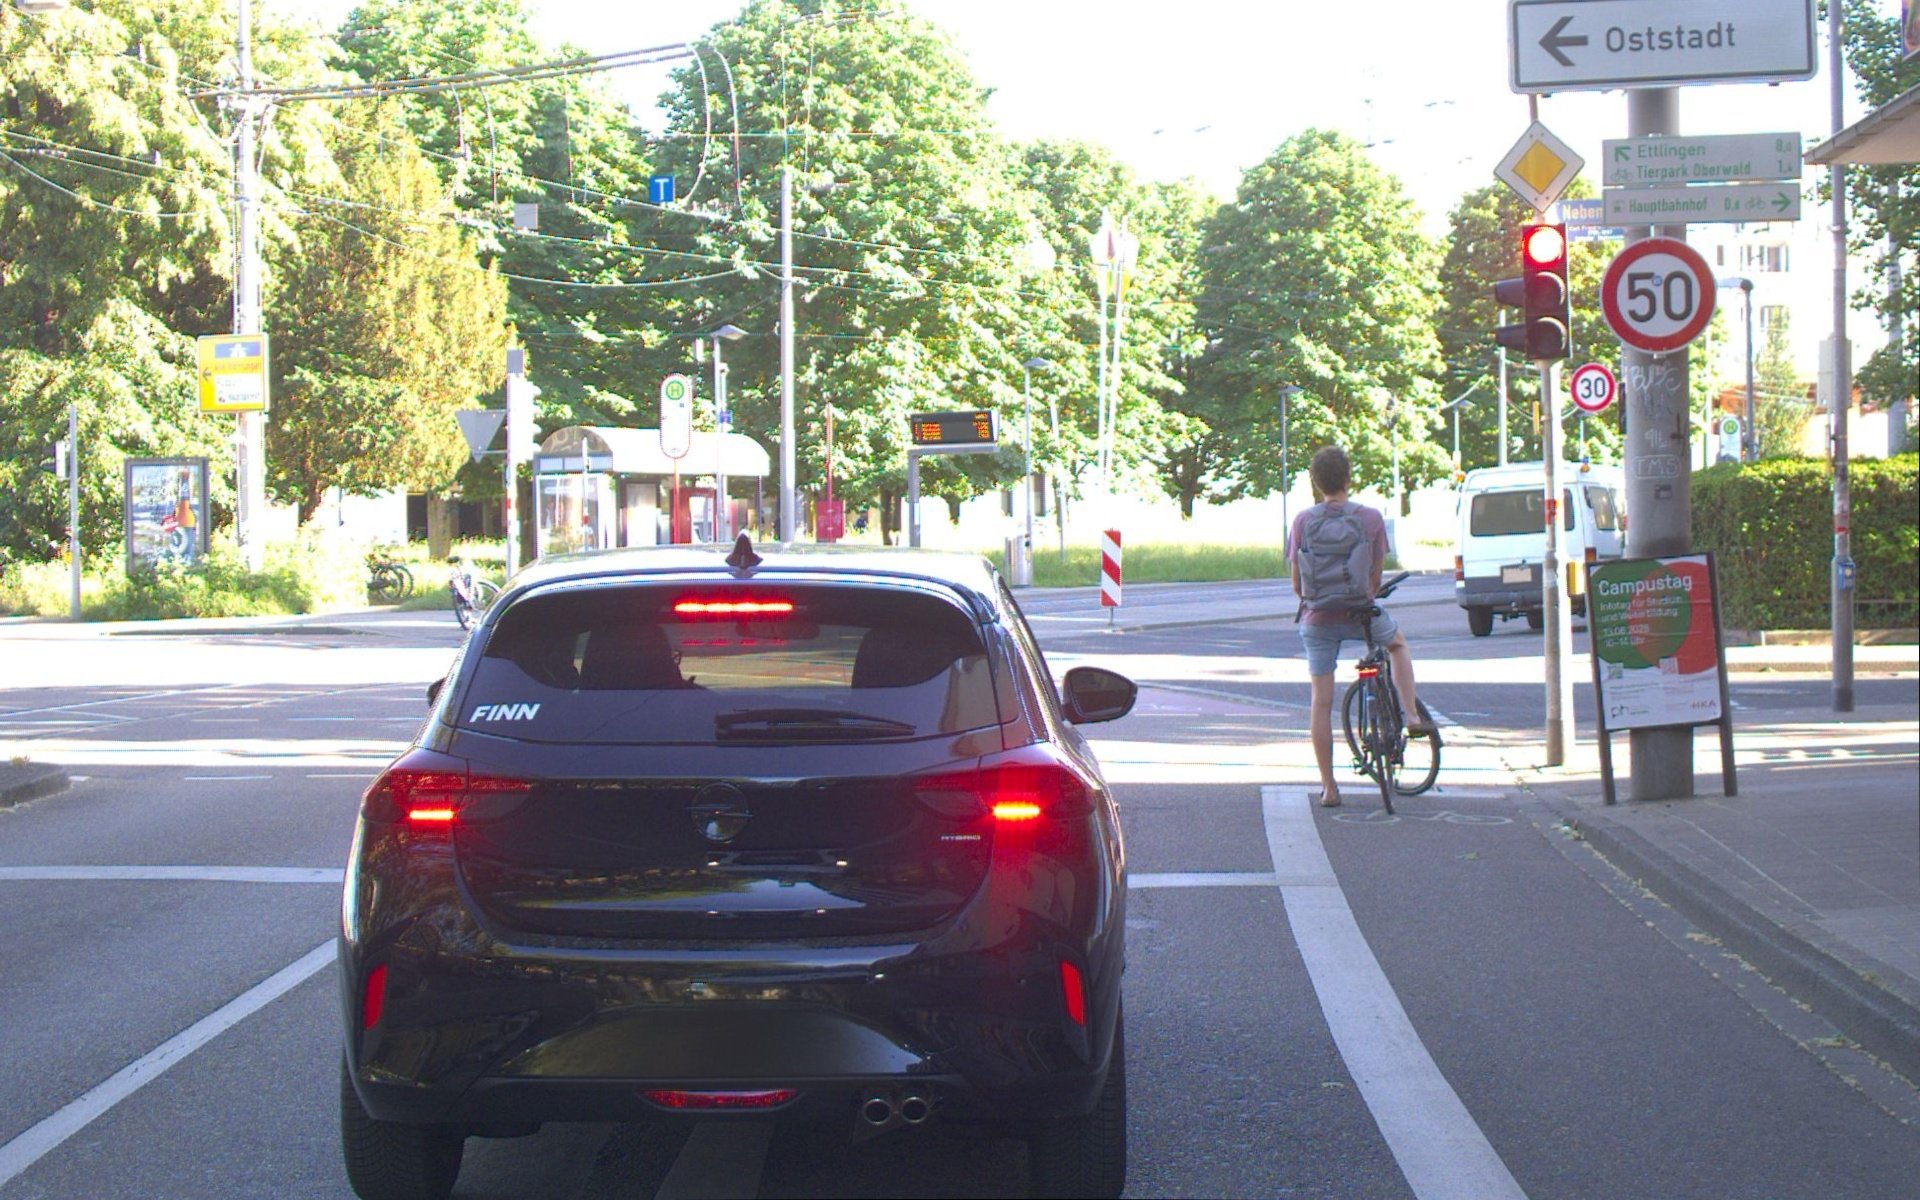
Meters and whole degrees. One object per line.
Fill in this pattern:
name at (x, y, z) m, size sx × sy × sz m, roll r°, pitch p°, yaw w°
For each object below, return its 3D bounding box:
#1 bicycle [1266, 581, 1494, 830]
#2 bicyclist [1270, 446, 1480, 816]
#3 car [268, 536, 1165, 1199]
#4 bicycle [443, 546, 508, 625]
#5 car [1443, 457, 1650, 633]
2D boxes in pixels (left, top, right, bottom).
bicycle at (2.129, 0.504, 17.704) m, size 0.860 × 1.149 × 2.172 m, roll -1°, pitch 1°, yaw -1°
bicyclist at (2.119, 0.145, 17.669) m, size 0.941 × 1.845 × 0.864 m, roll -1°, pitch 1°, yaw -1°
car at (-0.487, 0.560, 8.741) m, size 1.727 × 1.424 × 4.187 m, roll 0°, pitch 1°, yaw 0°
bicycle at (-6.540, -0.205, 46.471) m, size 0.605 × 1.028 × 1.982 m, roll 0°, pitch 1°, yaw -1°
car at (7.985, -0.769, 46.448) m, size 2.065 × 2.241 × 4.883 m, roll 0°, pitch 1°, yaw 18°
